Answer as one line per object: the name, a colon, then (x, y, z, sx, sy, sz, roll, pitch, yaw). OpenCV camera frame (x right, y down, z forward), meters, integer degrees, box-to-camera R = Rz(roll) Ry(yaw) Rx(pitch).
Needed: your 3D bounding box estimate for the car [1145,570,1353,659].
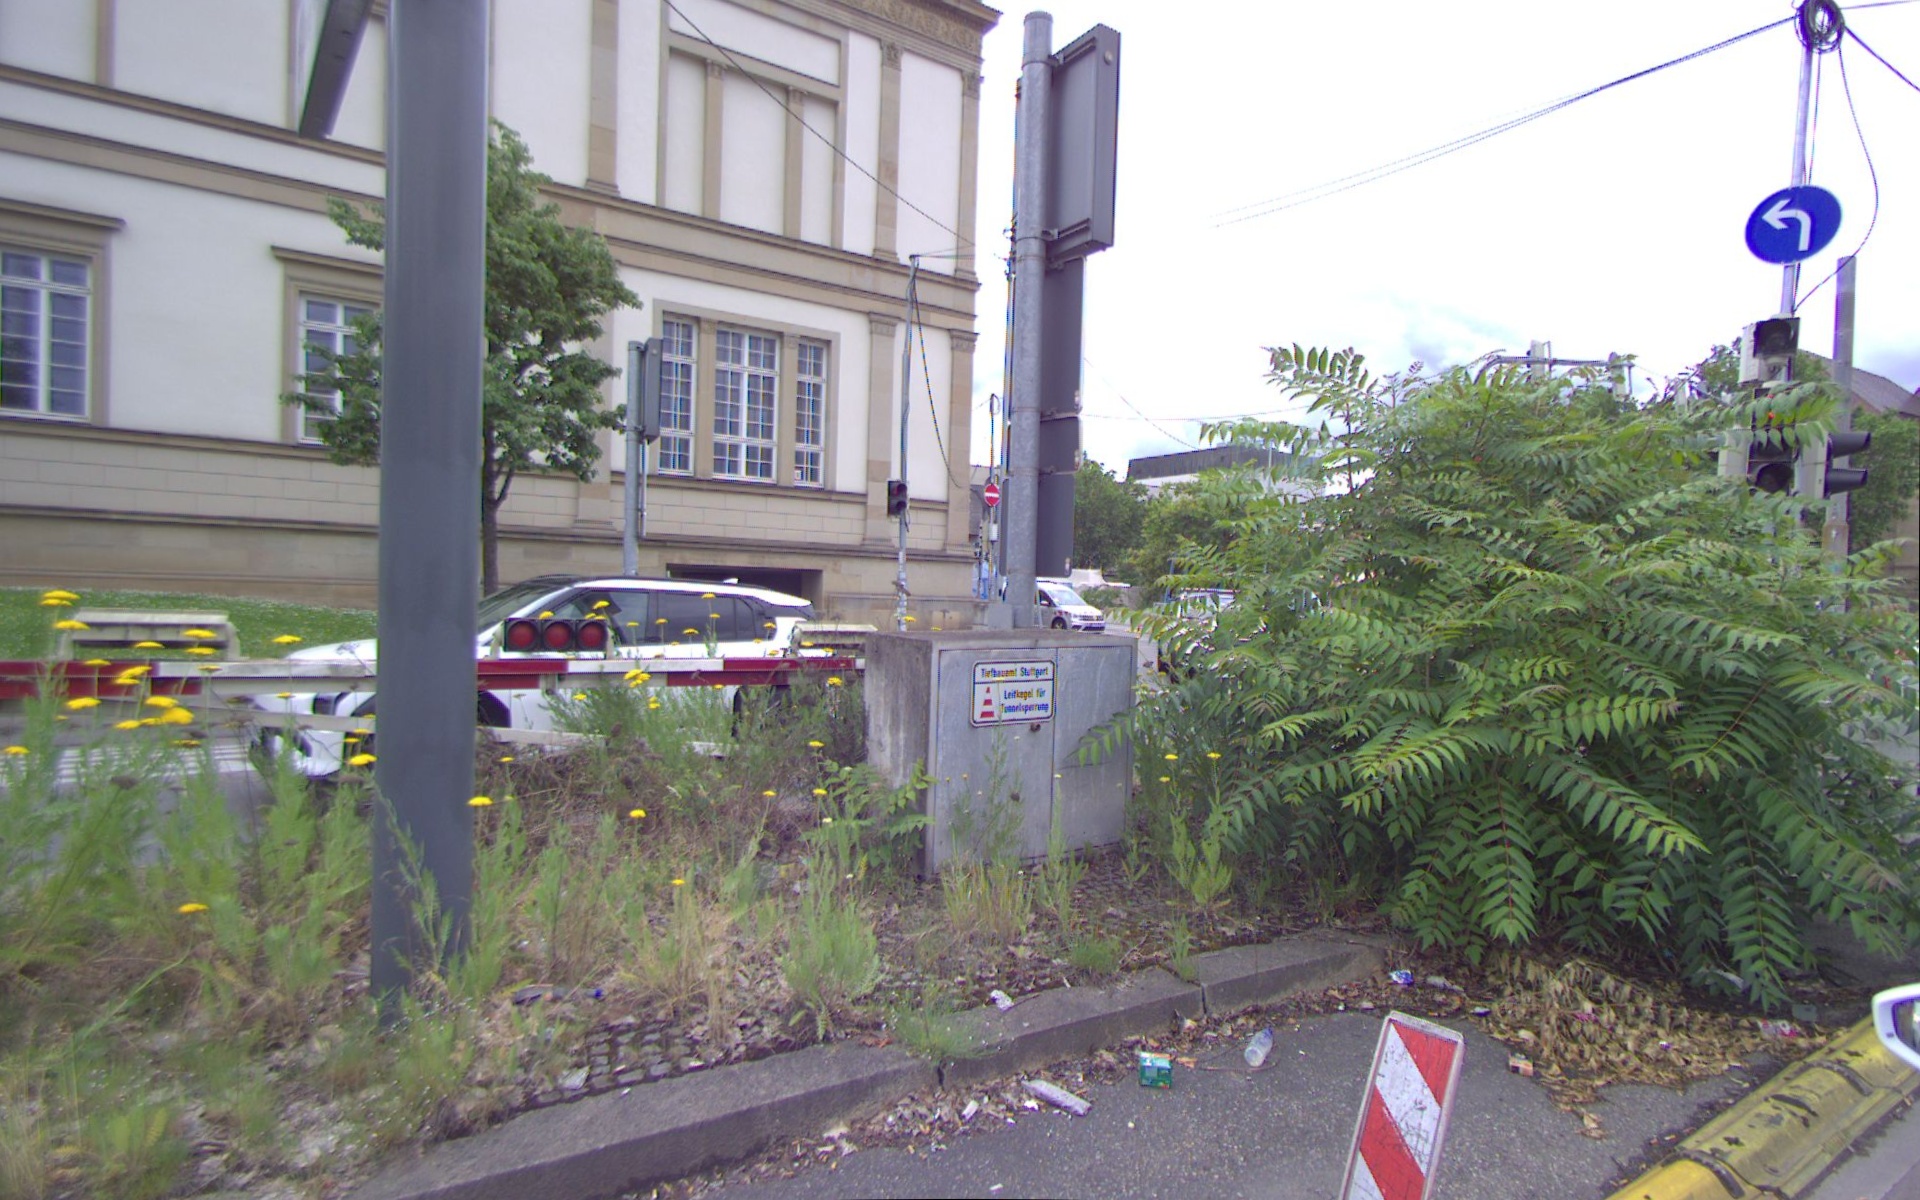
car: (8.262, 0.384, 29.350, 2.280, 2.336, 5.723, 2, 0, -34)

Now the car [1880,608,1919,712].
car: (17.011, 1.010, 14.907, 1.663, 1.646, 4.683, 2, 0, -32)

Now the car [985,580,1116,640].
car: (3.044, 0.310, 34.329, 4.219, 1.907, 1.820, 2, 0, 42)

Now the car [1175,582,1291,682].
car: (5.093, 0.530, 18.779, 1.866, 1.646, 4.109, 0, 0, 15)

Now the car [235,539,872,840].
car: (-2.929, 0.540, 7.885, 4.240, 1.714, 1.851, 2, 0, -45)
